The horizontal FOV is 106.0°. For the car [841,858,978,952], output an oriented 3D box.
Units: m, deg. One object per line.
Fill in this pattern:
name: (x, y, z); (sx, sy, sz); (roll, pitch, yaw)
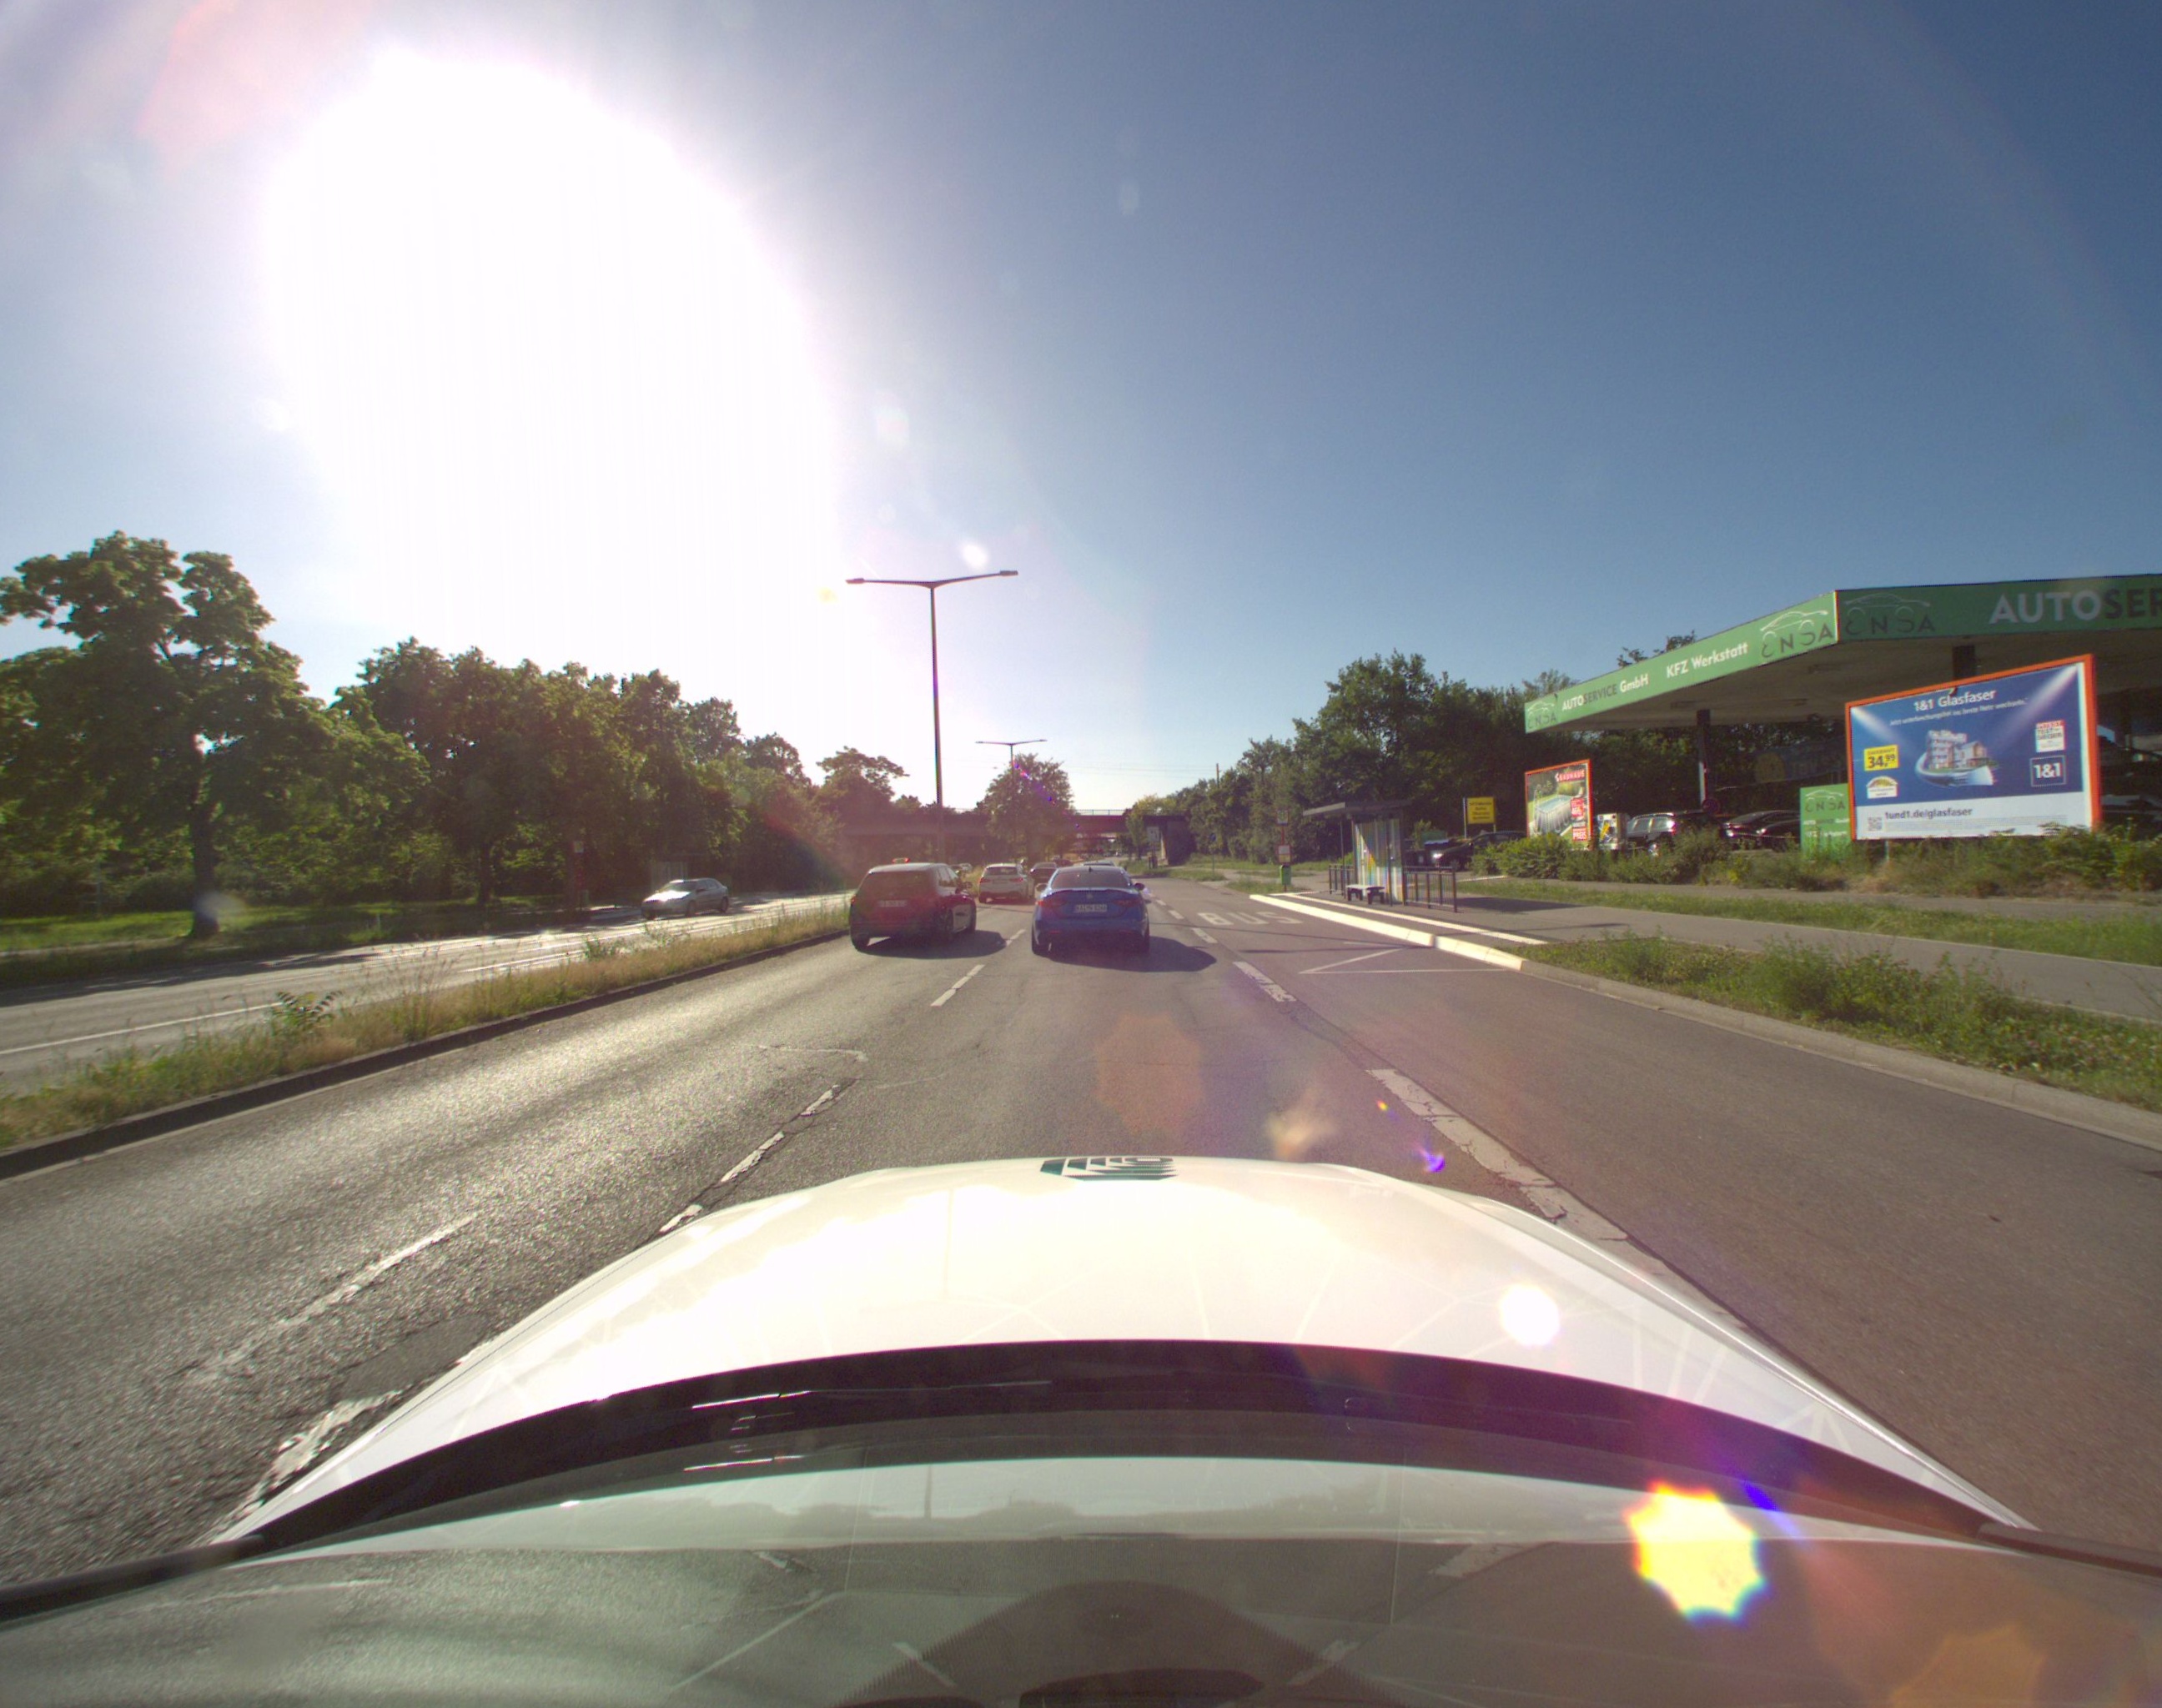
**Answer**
car: (-3.224, 0.900, 16.181); (1.701, 1.598, 4.225); (-1, -1, 2)

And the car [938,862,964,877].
car: (-13.576, 1.612, 85.175); (1.811, 1.435, 4.632); (-4, -1, 1)

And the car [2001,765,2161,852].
car: (22.079, -0.917, 16.690); (1.986, 1.647, 4.001); (-1, -1, 2)

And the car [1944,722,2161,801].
car: (28.483, -2.643, 24.080); (1.911, 1.755, 3.780); (-3, -1, 3)

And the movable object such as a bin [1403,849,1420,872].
movable object such as a bin: (16.002, 0.319, 39.455); (0.585, 1.074, 0.504); (-1, -1, -40)

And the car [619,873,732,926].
car: (-15.143, 1.640, 30.700); (1.986, 1.684, 4.178); (-3, -1, 2)

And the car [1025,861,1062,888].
car: (-2.171, 1.192, 48.526); (1.876, 1.454, 4.527); (-1, -1, 2)

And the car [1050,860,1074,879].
car: (-1.592, 1.313, 69.688); (1.773, 1.454, 4.183); (-2, 0, 2)

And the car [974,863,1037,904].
car: (-2.849, 1.080, 31.553); (1.876, 1.454, 4.527); (-1, -1, 2)

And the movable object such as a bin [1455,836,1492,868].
movable object such as a bin: (18.158, -0.101, 37.680); (0.994, 1.428, 1.210); (-2, -1, -41)

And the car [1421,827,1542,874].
car: (17.495, -0.157, 35.611); (4.501, 1.640, 1.813); (-5, -1, 31)

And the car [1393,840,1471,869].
car: (18.066, 0.039, 42.026); (3.270, 1.417, 1.729); (-1, -1, 3)

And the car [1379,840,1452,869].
car: (18.158, 0.046, 44.273); (3.270, 1.486, 1.773); (-1, -1, 3)

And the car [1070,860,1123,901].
car: (0.620, 0.985, 31.442); (1.876, 1.454, 4.527); (-1, -1, 2)

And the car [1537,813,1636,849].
car: (26.340, -1.174, 42.529); (4.021, 1.531, 1.735); (-4, -1, 3)

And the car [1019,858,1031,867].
car: (-10.720, 1.616, 155.150); (1.810, 1.442, 4.090); (-3, -1, 1)

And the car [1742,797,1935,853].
car: (22.948, -0.800, 24.797); (2.008, 1.486, 3.957); (0, -1, -35)

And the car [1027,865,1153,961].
car: (0.194, 0.920, 14.342); (1.876, 1.406, 4.225); (-1, -1, 2)

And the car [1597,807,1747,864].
car: (18.385, -0.524, 25.613); (1.737, 1.573, 4.251); (-2, 0, 3)

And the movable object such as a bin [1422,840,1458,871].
movable object such as a bin: (16.927, 0.066, 38.415); (0.994, 1.428, 1.245); (-1, 0, -41)

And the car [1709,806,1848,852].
car: (27.236, -0.961, 31.878); (3.977, 1.517, 1.734); (-3, -1, -3)

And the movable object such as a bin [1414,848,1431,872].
movable object such as a bin: (16.411, 0.282, 39.165); (0.585, 1.121, 0.504); (-1, -1, -40)

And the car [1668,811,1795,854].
car: (27.189, -0.895, 34.099); (3.977, 1.517, 1.696); (-3, -1, -3)
